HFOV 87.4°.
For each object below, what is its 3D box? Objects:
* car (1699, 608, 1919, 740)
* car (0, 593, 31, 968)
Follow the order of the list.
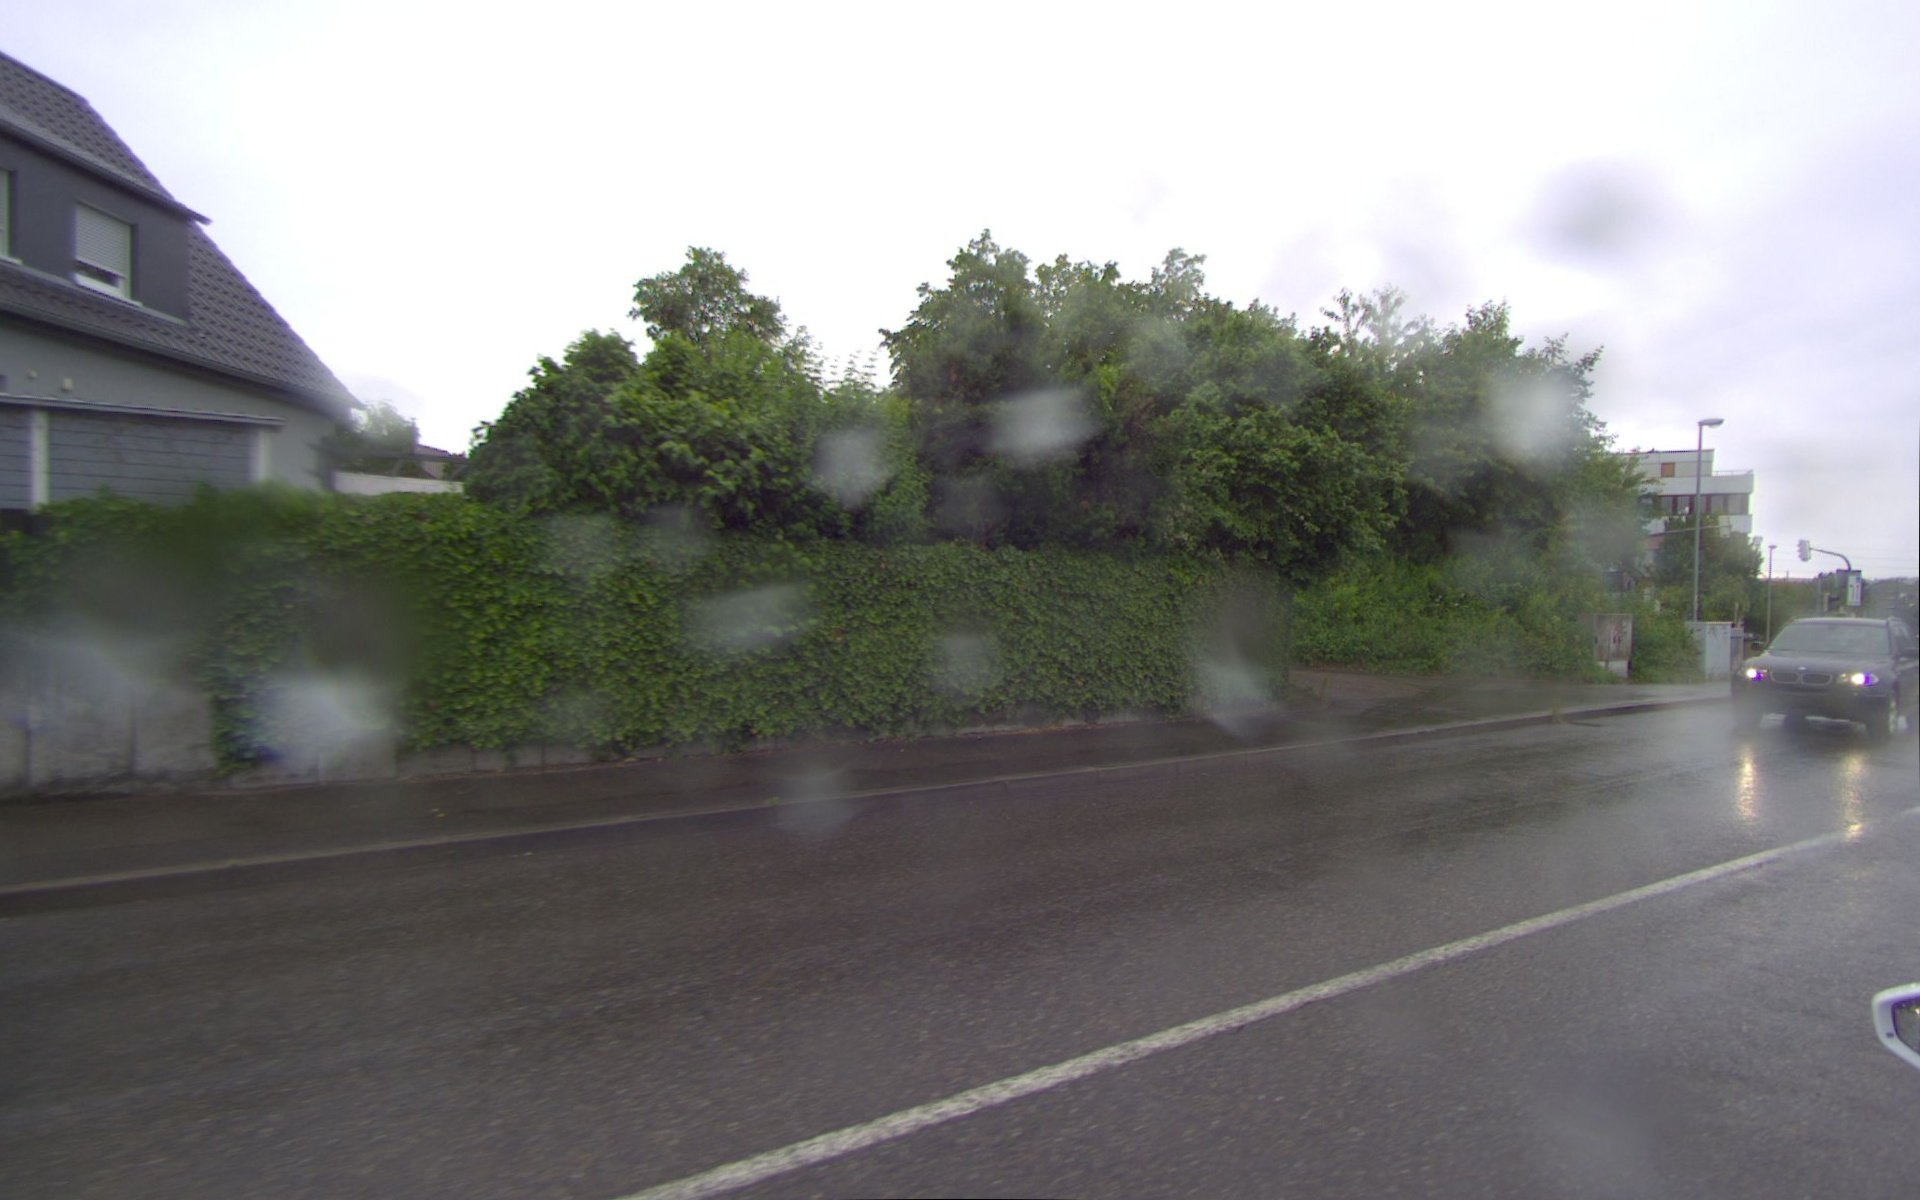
[{"bbox_3d":[13.288,1.051,15.354,4.374,1.690,1.979,2,0,-36],"label":"car"},{"bbox_3d":[-5.153,0.626,2.014,4.580,1.423,1.979,2,-1,-37],"label":"car"}]
